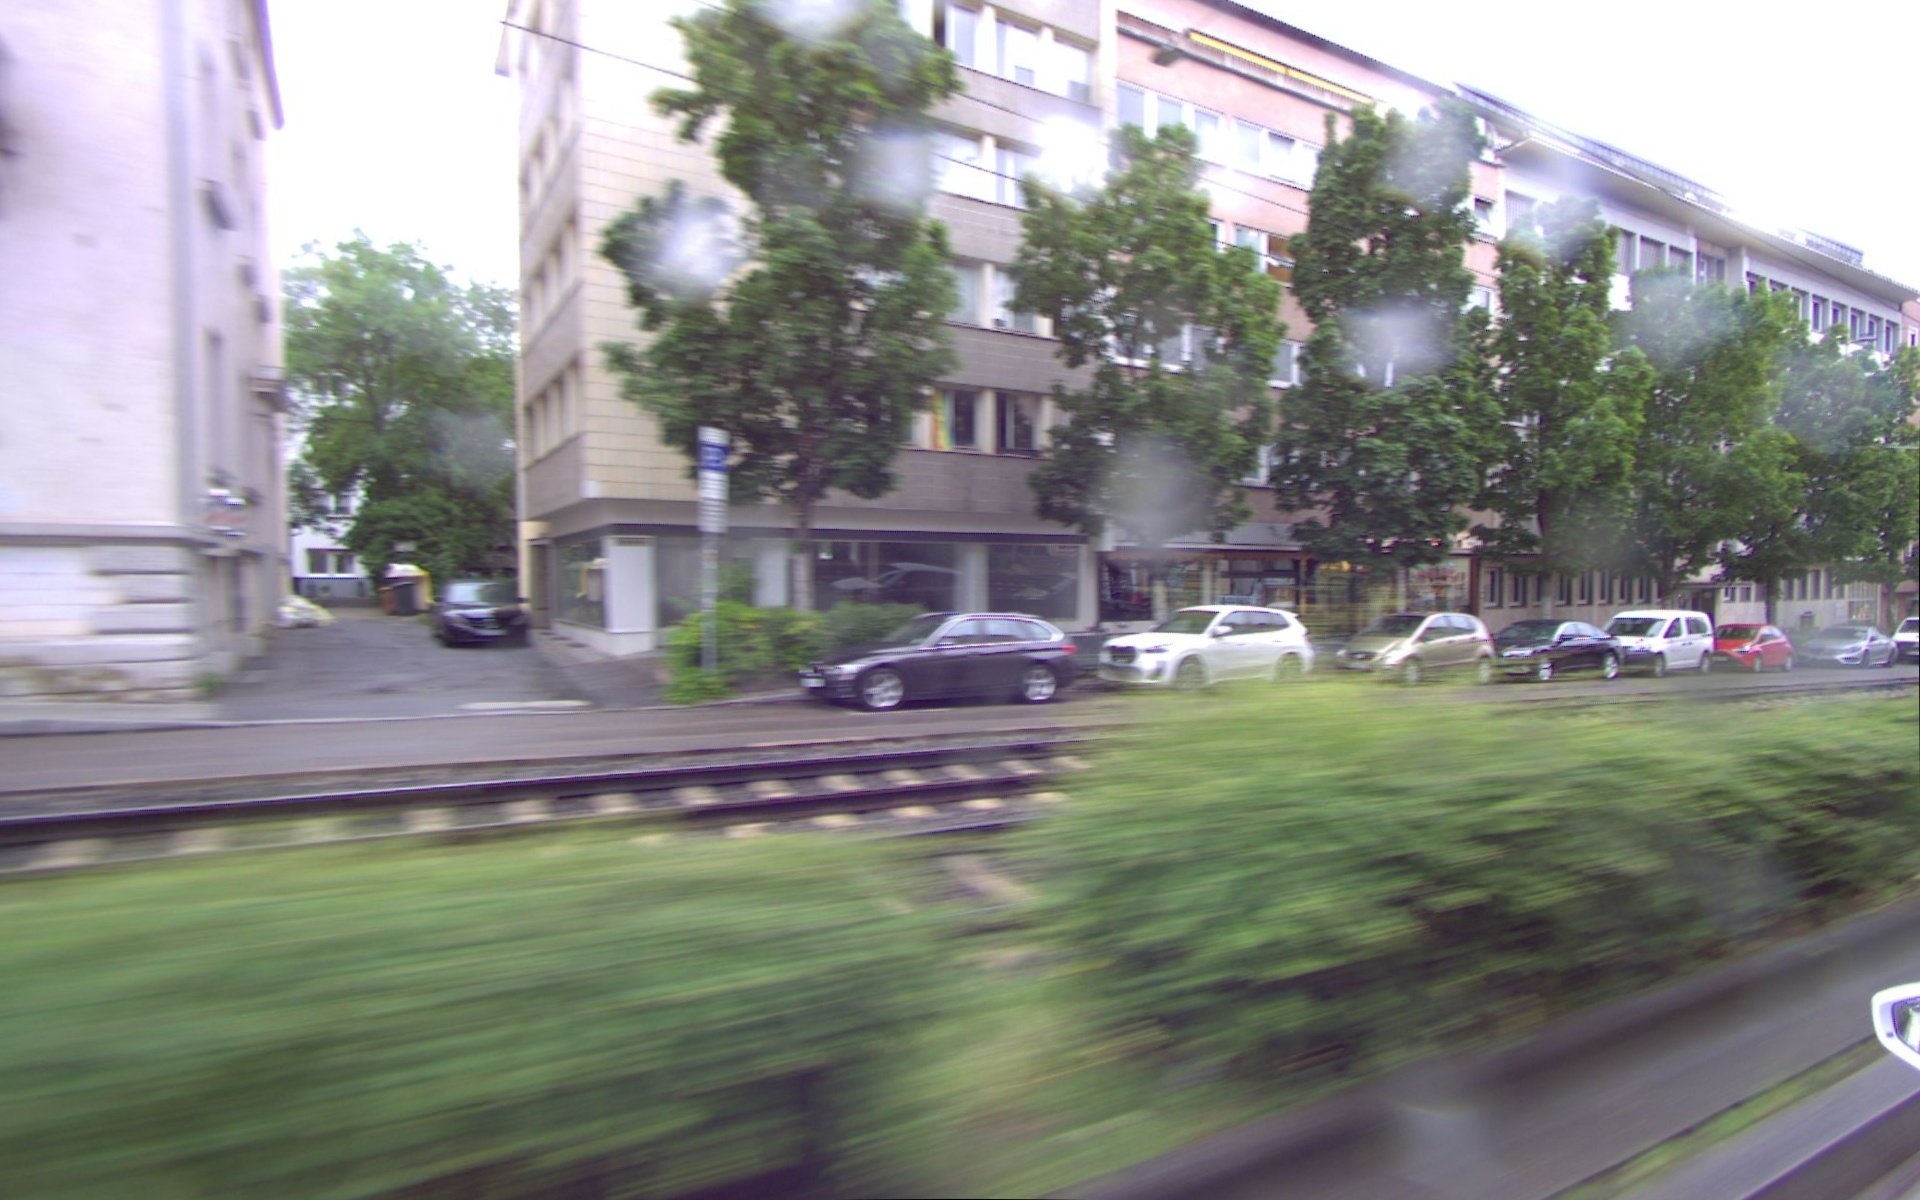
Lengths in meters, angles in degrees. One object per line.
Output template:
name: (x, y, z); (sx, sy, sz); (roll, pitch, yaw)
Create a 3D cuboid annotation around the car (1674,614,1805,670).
car: (24.216, 1.306, 31.197); (3.999, 1.547, 1.846); (3, 0, -31)

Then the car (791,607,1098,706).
car: (-0.174, 0.911, 16.001); (4.666, 1.395, 1.685); (3, -2, -31)

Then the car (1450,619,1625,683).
car: (14.227, 1.272, 24.700); (4.380, 1.436, 1.846); (3, -3, -31)

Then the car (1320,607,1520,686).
car: (10.302, 1.049, 22.424); (4.380, 1.569, 1.846); (3, 0, -31)

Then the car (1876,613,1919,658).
car: (38.423, 1.462, 39.745); (4.878, 1.658, 1.846); (3, 0, -31)

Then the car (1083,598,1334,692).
car: (4.775, 0.870, 19.118); (4.666, 1.569, 1.846); (3, 0, -31)

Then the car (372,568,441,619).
car: (-18.895, -0.221, 34.200); (1.841, 1.582, 4.090); (2, 0, -31)

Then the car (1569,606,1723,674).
car: (19.143, 1.123, 27.995); (4.380, 1.723, 1.846); (3, 0, -31)

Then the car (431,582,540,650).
car: (-11.215, 0.323, 23.597); (1.841, 1.437, 4.393); (2, 0, -31)

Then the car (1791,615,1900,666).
car: (30.567, 1.392, 34.652); (3.999, 1.579, 1.659); (3, 0, -31)
